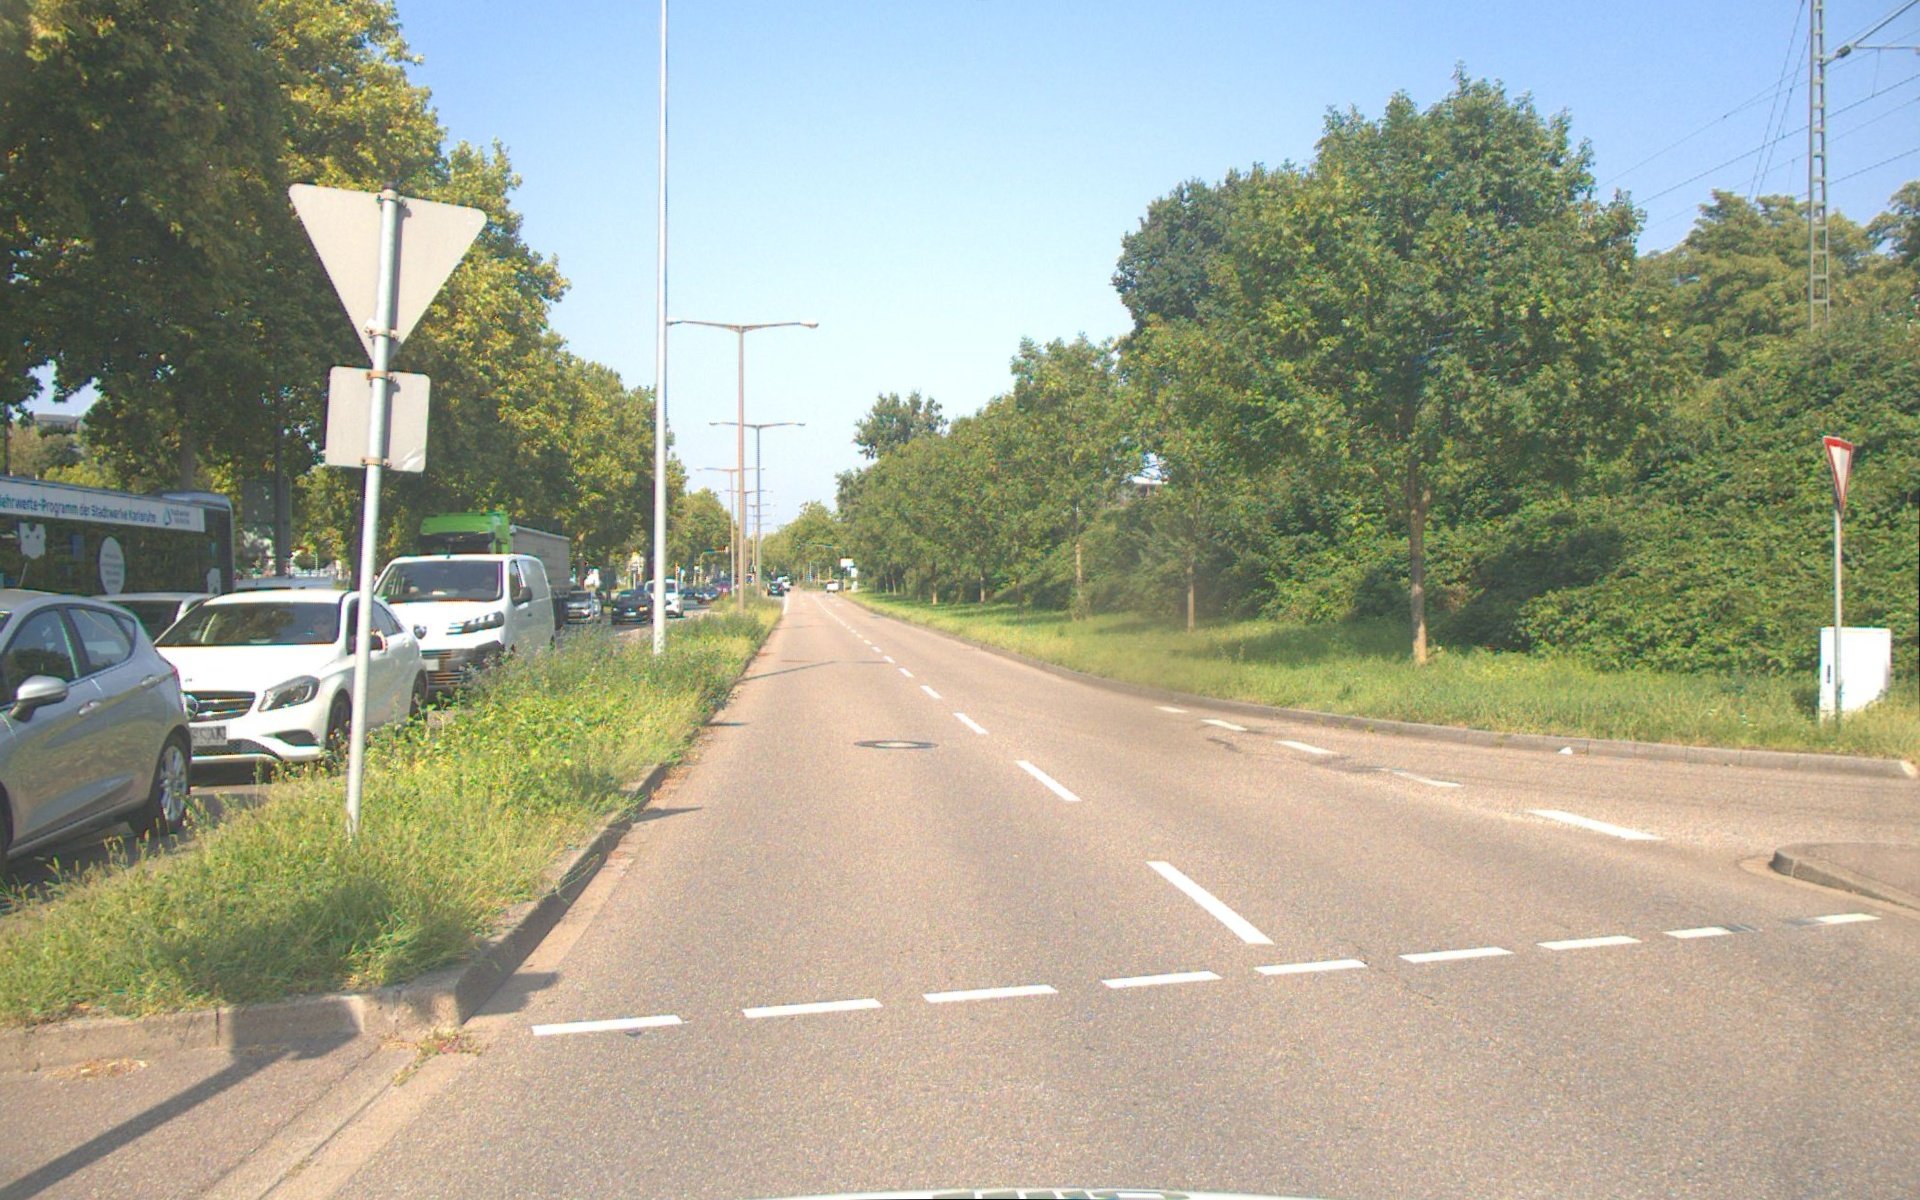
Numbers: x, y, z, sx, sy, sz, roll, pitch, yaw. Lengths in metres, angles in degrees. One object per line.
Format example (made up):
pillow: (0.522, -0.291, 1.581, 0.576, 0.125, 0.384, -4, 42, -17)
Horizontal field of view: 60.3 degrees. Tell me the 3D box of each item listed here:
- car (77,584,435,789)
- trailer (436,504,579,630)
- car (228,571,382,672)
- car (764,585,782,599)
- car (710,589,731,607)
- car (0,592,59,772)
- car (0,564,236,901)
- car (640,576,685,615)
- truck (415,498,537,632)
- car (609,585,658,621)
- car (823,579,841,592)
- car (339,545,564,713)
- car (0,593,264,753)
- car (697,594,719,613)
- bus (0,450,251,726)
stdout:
car: (-5.689, 0.599, 13.912, 1.677, 1.426, 4.077, 0, 1, -7)
trailer: (-15.884, -1.051, 59.201, 2.583, 3.888, 13.794, -2, 0, -6)
car: (-13.582, 0.419, 34.565, 1.671, 1.921, 4.743, -2, 0, -5)
car: (-20.259, -0.883, 178.947, 1.658, 1.512, 3.998, 0, 0, -3)
car: (-24.491, -0.188, 169.425, 1.916, 1.754, 4.581, 0, 0, -6)
car: (-8.591, 0.652, 12.402, 1.672, 1.467, 3.997, 1, 0, -4)
car: (-5.235, 0.618, 8.376, 1.611, 1.521, 3.996, -2, 1, -5)
car: (-15.491, -0.251, 86.208, 1.955, 1.988, 5.029, 0, 0, -6)
truck: (-15.135, -1.049, 52.075, 2.557, 3.886, 5.883, -2, 0, -6)
car: (-13.841, 0.129, 70.225, 1.583, 1.423, 3.853, -2, 0, -5)
car: (-16.075, -1.778, 207.930, 1.757, 1.537, 4.001, 0, 0, 3)
car: (-6.498, 0.333, 21.703, 1.875, 1.896, 4.883, -2, 0, -6)
car: (-9.041, 0.712, 17.917, 1.673, 1.492, 3.816, -2, 0, -6)
car: (-21.332, 0.322, 140.059, 1.713, 1.505, 4.579, -2, 0, -8)
bus: (-12.361, -0.140, 20.932, 2.540, 3.133, 12.298, 0, 0, -5)
